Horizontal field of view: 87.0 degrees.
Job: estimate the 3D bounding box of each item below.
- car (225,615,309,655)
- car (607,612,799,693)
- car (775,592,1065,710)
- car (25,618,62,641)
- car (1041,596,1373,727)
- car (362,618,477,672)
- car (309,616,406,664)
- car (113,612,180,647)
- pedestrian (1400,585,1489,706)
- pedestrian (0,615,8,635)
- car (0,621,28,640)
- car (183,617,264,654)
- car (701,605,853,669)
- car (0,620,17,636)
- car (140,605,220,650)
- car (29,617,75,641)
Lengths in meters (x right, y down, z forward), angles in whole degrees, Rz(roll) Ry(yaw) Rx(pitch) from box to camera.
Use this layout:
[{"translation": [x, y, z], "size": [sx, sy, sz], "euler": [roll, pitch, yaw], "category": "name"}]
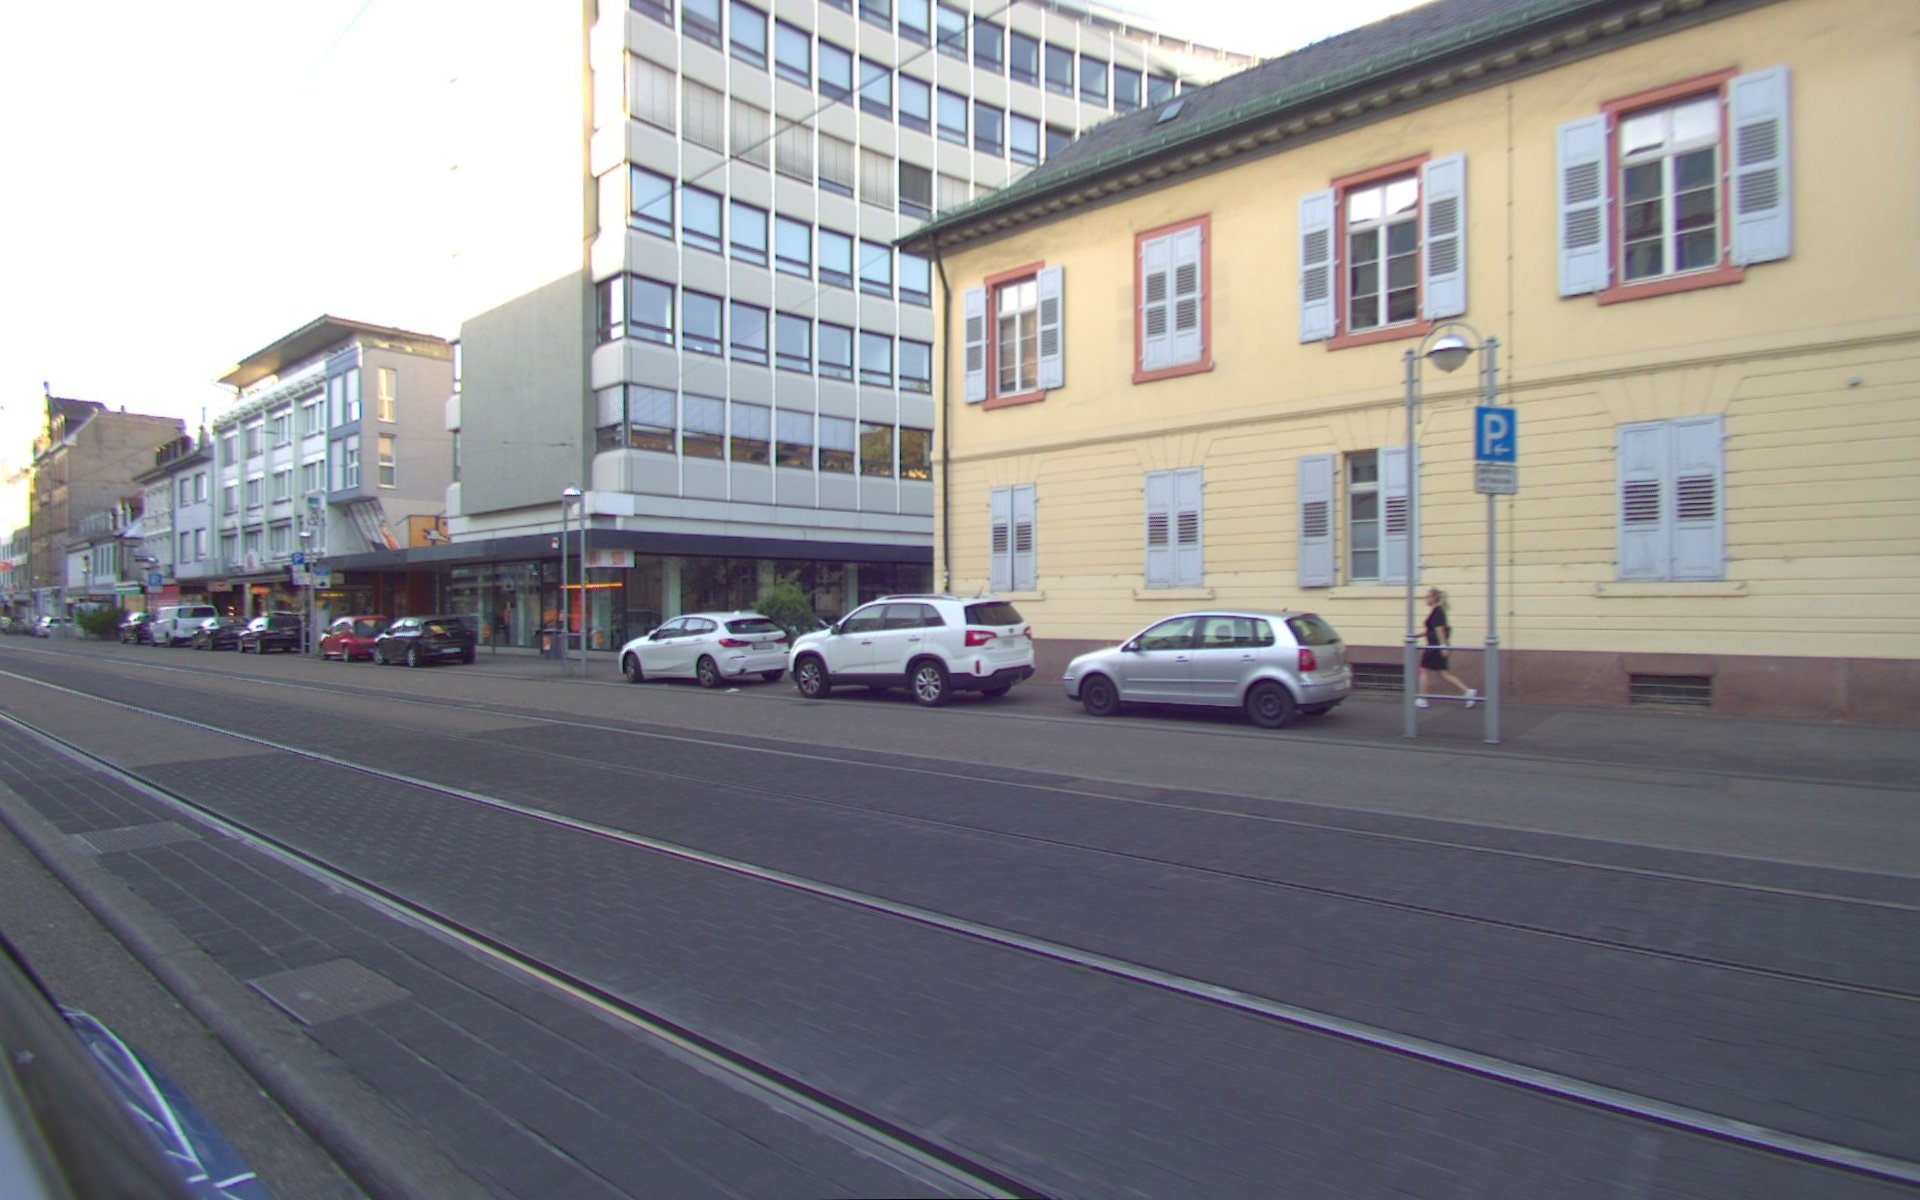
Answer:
[{"translation": [-27.125, 1.330, 39.578], "size": [4.089, 1.472, 1.771], "euler": [-1, -1, 42], "category": "car"}, {"translation": [-5.414, 1.032, 21.044], "size": [4.280, 1.464, 1.703], "euler": [-1, 1, 40], "category": "car"}, {"translation": [-0.778, 0.771, 16.890], "size": [4.755, 1.673, 1.868], "euler": [-1, 1, 39], "category": "car"}, {"translation": [-68.016, 2.150, 75.067], "size": [3.469, 1.582, 1.638], "euler": [-1, 1, 41], "category": "car"}, {"translation": [3.240, 0.761, 13.710], "size": [3.997, 1.485, 1.730], "euler": [-2, 0, 40], "category": "car"}, {"translation": [-16.066, 1.294, 30.004], "size": [3.963, 1.436, 1.675], "euler": [-1, 1, 41], "category": "car"}, {"translation": [-19.850, 1.284, 33.296], "size": [3.590, 1.445, 1.674], "euler": [-1, -1, 41], "category": "car"}, {"translation": [-43.577, 1.541, 54.176], "size": [4.585, 1.710, 1.973], "euler": [-1, 1, 41], "category": "car"}, {"translation": [6.543, 0.593, 13.665], "size": [0.877, 1.553, 0.791], "euler": [-1, 1, 43], "category": "pedestrian"}, {"translation": [-101.234, 2.674, 107.065], "size": [1.049, 2.028, 0.738], "euler": [1, 2, 45], "category": "pedestrian"}, {"translation": [-79.788, 2.525, 84.983], "size": [3.814, 1.504, 1.823], "euler": [-1, 1, 41], "category": "car"}, {"translation": [-32.132, 1.517, 44.111], "size": [4.568, 1.437, 1.853], "euler": [-1, 1, 41], "category": "car"}, {"translation": [-5.126, 0.980, 28.714], "size": [1.912, 1.564, 3.949], "euler": [-1, 1, 38], "category": "car"}, {"translation": [-88.636, 2.577, 93.166], "size": [4.398, 1.431, 1.974], "euler": [-1, 1, 38], "category": "car"}, {"translation": [-37.793, 1.278, 48.997], "size": [5.095, 2.029, 1.945], "euler": [-1, 1, 40], "category": "car"}, {"translation": [-64.127, 2.017, 71.446], "size": [4.620, 1.568, 1.872], "euler": [-1, 1, 41], "category": "car"}]
